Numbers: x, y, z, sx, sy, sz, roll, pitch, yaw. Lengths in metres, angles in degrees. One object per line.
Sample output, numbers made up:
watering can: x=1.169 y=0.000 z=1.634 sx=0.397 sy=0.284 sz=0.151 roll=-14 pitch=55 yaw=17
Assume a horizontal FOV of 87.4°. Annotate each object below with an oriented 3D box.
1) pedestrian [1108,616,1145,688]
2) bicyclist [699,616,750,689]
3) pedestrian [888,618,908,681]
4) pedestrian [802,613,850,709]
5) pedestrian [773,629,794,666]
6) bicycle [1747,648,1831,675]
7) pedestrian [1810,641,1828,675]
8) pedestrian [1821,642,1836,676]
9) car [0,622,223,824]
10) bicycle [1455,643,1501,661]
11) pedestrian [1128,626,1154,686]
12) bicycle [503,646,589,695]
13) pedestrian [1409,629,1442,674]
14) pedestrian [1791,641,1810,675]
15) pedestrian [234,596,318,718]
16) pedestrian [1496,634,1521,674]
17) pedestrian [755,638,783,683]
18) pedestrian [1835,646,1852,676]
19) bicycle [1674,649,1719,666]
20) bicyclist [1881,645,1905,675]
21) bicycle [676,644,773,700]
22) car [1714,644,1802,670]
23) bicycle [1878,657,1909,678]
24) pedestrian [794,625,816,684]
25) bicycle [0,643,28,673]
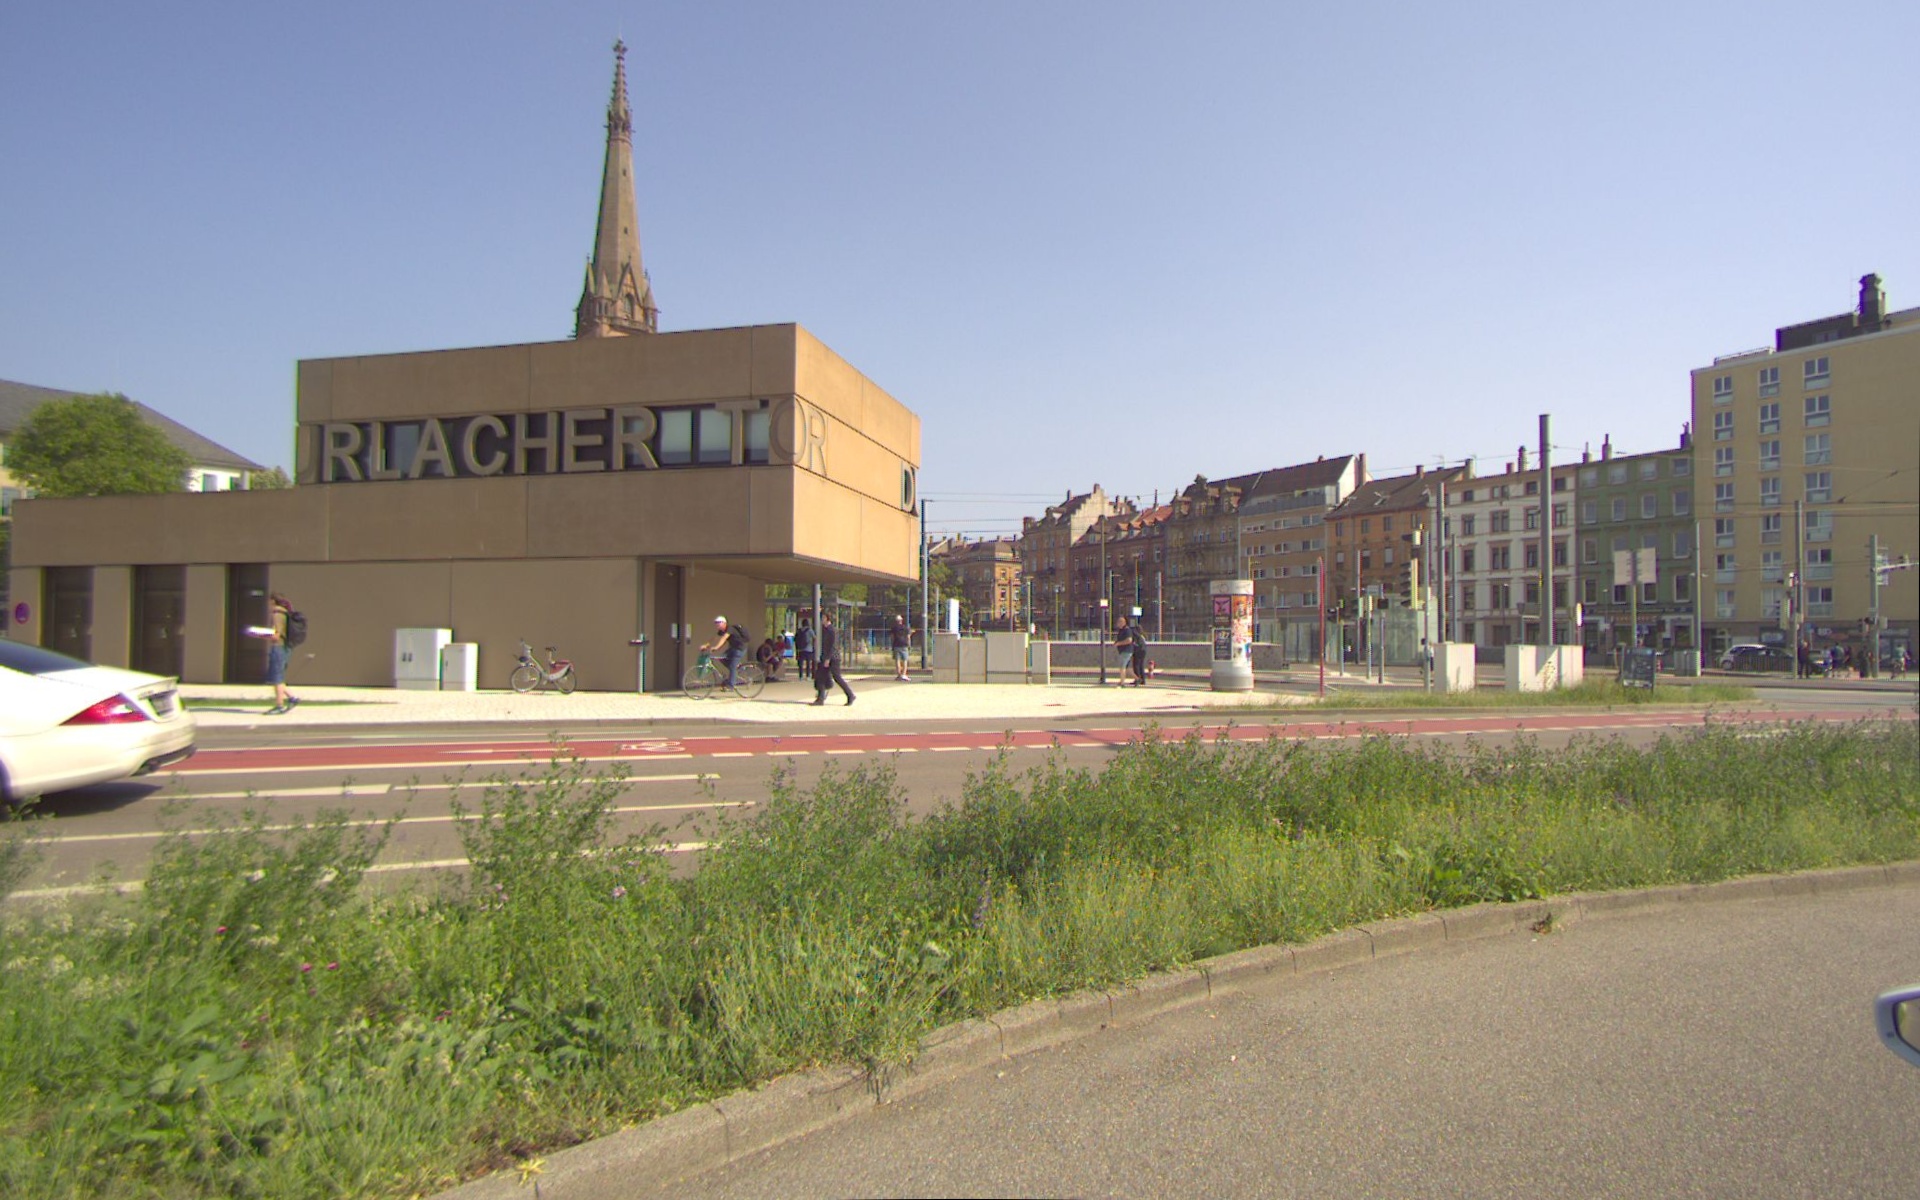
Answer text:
pedestrian: x=4.392 y=1.367 z=26.507 sx=0.878 sy=1.843 sz=0.882 roll=-2 pitch=-1 yaw=12
bicyclist: x=-4.785 y=1.046 z=20.381 sx=0.871 sy=1.380 sz=0.560 roll=-3 pitch=3 yaw=-25
pedestrian: x=-1.850 y=1.482 z=30.115 sx=0.547 sy=1.843 sz=0.392 roll=-2 pitch=0 yaw=-3
pedestrian: x=-2.632 y=1.173 z=19.664 sx=0.833 sy=1.802 sz=0.875 roll=-2 pitch=-1 yaw=-11
pedestrian: x=-7.850 y=2.101 z=44.672 sx=0.782 sy=1.612 sz=0.692 roll=0 pitch=-2 yaw=1
bicycle: x=53.268 y=3.940 z=64.587 sx=1.182 sy=1.572 sz=3.968 roll=-1 pitch=-1 yaw=-30
pedestrian: x=43.736 y=2.953 z=51.158 sx=0.538 sy=1.707 sz=0.454 roll=-1 pitch=0 yaw=-17
pedestrian: x=44.699 y=3.035 z=51.694 sx=0.447 sy=1.707 sz=0.440 roll=-2 pitch=-1 yaw=22
car: x=-8.517 y=0.834 z=7.282 sx=4.751 sy=1.379 sz=1.837 roll=2 pitch=-1 yaw=-23
bicycle: x=43.064 y=4.316 z=83.542 sx=0.765 sy=1.365 sz=3.513 roll=-1 pitch=-1 yaw=-30
pedestrian: x=4.976 y=1.534 z=27.566 sx=0.499 sy=1.601 sz=0.497 roll=-2 pitch=-1 yaw=-14
bicycle: x=-8.634 y=1.456 z=20.957 sx=1.580 sy=0.968 sz=0.661 roll=0 pitch=0 yaw=14
pedestrian: x=21.927 y=2.425 z=47.321 sx=1.009 sy=2.040 sz=0.954 roll=-1 pitch=-1 yaw=-29
pedestrian: x=43.075 y=2.987 z=51.452 sx=0.537 sy=1.707 sz=0.456 roll=-2 pitch=0 yaw=-5
pedestrian: x=-10.427 y=0.848 z=15.315 sx=0.668 sy=1.783 sz=0.874 roll=1 pitch=0 yaw=40
pedestrian: x=26.446 y=2.594 z=48.435 sx=0.847 sy=1.810 sz=0.772 roll=-2 pitch=1 yaw=-32
pedestrian: x=-5.147 y=1.632 z=27.105 sx=0.513 sy=1.187 sz=0.596 roll=0 pitch=-2 yaw=13
pedestrian: x=45.200 y=3.095 z=51.390 sx=0.489 sy=1.507 sz=0.440 roll=-2 pitch=-1 yaw=22
bicycle: x=51.227 y=4.018 z=69.879 sx=2.413 sy=1.131 sz=0.737 roll=-2 pitch=-1 yaw=33
bicyclist: x=45.745 y=2.952 z=49.235 sx=0.682 sy=1.453 sz=0.721 roll=2 pitch=-2 yaw=-33
bicycle: x=-4.773 y=1.454 z=20.398 sx=1.826 sy=1.078 sz=0.560 roll=2 pitch=-1 yaw=-25
car: x=46.962 y=3.344 z=59.178 sx=1.567 sy=1.411 sz=3.722 roll=2 pitch=-2 yaw=-28
bicycle: x=45.754 y=3.294 z=49.237 sx=1.714 sy=0.997 sz=0.723 roll=2 pitch=-2 yaw=-34
pedestrian: x=-4.589 y=1.597 z=29.727 sx=0.523 sy=1.718 sz=0.607 roll=-2 pitch=0 yaw=-1
bicycle: x=-33.587 y=2.018 z=35.186 sx=1.837 sy=1.022 sz=0.462 roll=0 pitch=-2 yaw=16
